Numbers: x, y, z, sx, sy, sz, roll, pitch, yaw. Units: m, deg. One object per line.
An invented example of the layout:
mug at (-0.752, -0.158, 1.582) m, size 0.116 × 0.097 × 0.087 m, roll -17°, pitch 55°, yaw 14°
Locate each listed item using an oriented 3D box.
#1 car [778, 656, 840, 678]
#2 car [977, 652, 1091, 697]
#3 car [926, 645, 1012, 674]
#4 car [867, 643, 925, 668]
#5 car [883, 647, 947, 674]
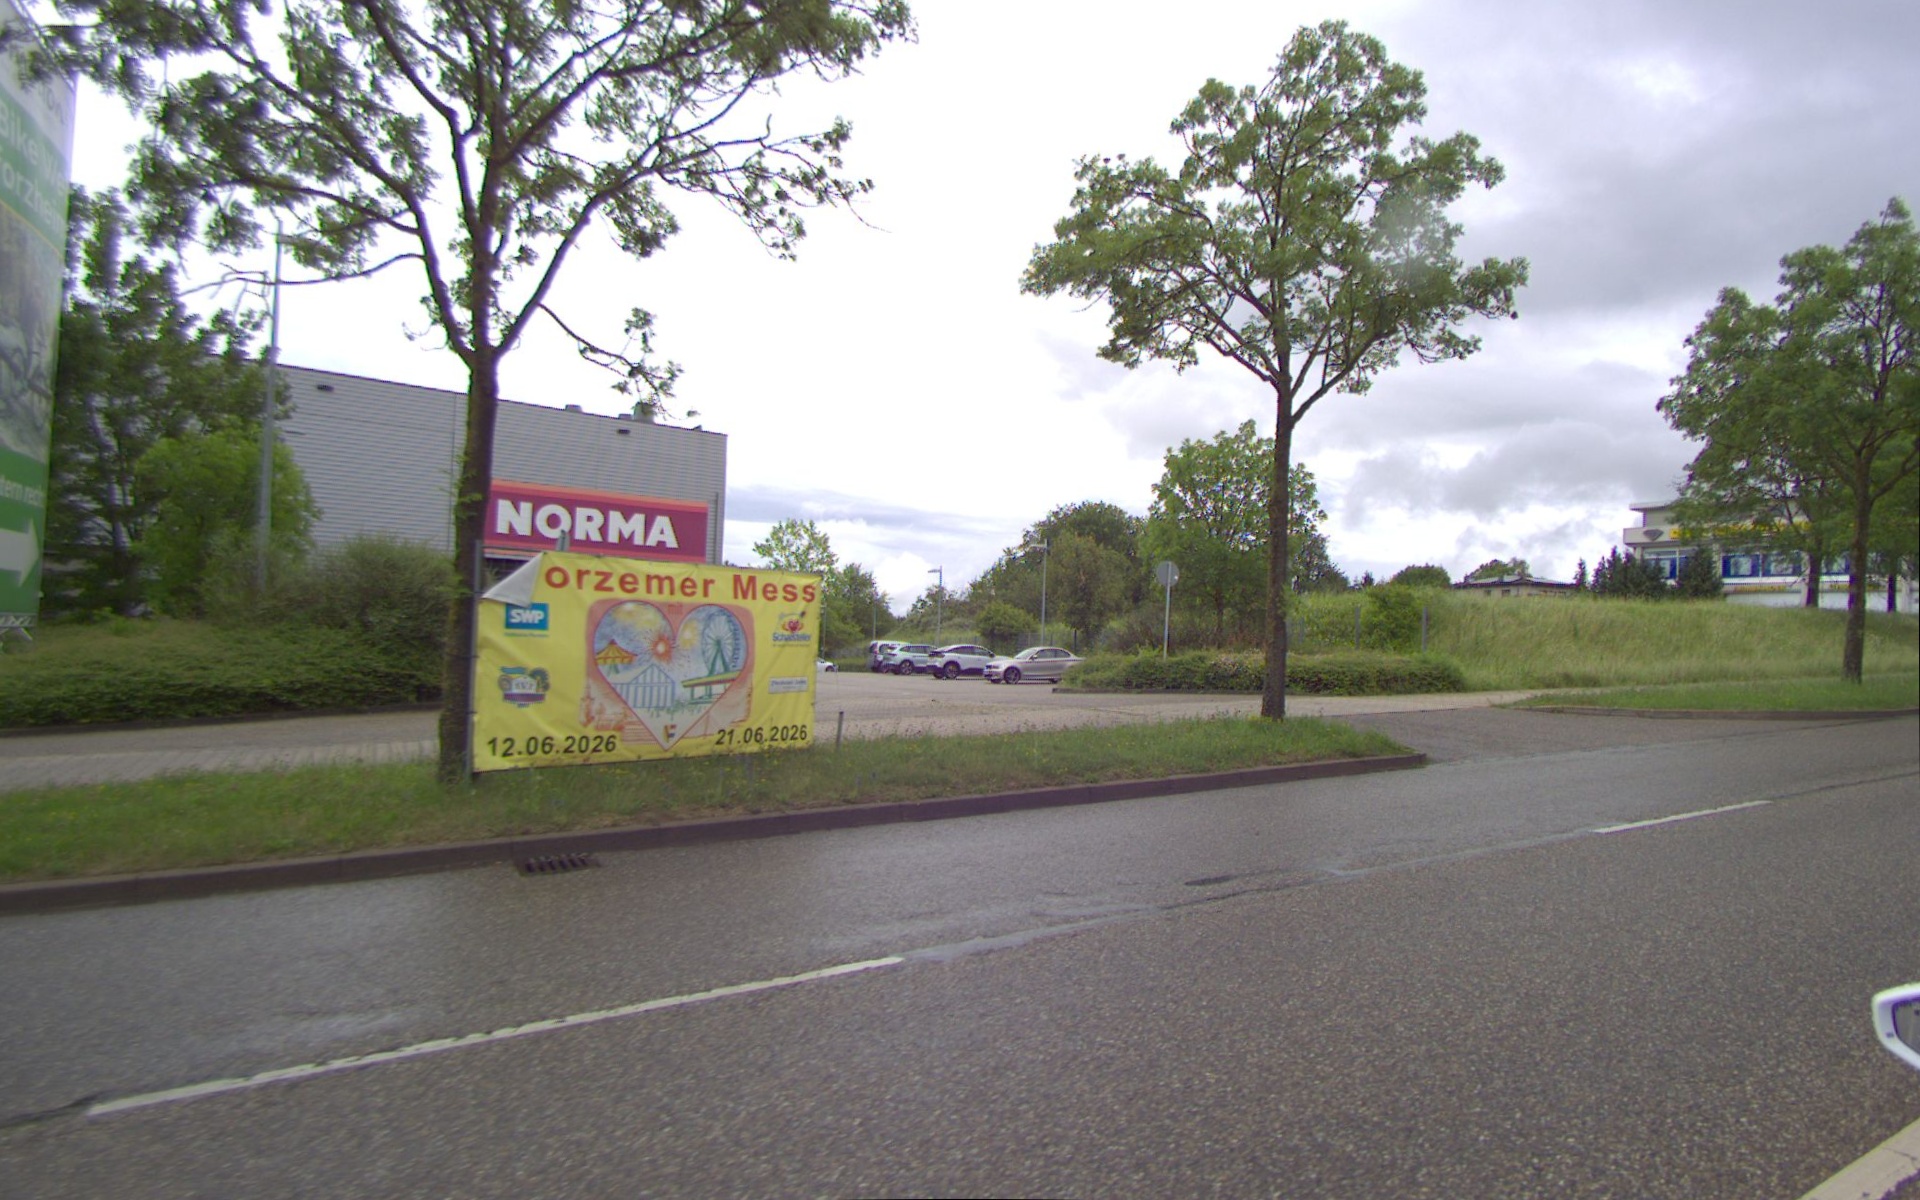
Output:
car at (-12.284, 5.438, 81.835) m, size 4.666 × 1.635 × 1.878 m, roll 1°, pitch -1°, yaw -22°
car at (2.897, 2.893, 39.298) m, size 4.230 × 1.635 × 1.529 m, roll 1°, pitch -1°, yaw -20°
car at (0.411, 2.700, 45.969) m, size 3.663 × 1.281 × 1.449 m, roll 1°, pitch -1°, yaw -20°
car at (-3.706, 3.198, 58.032) m, size 3.095 × 1.387 × 1.449 m, roll 1°, pitch -1°, yaw -20°
car at (-2.384, 3.172, 53.006) m, size 3.095 × 1.387 × 1.449 m, roll 1°, pitch -1°, yaw -20°
